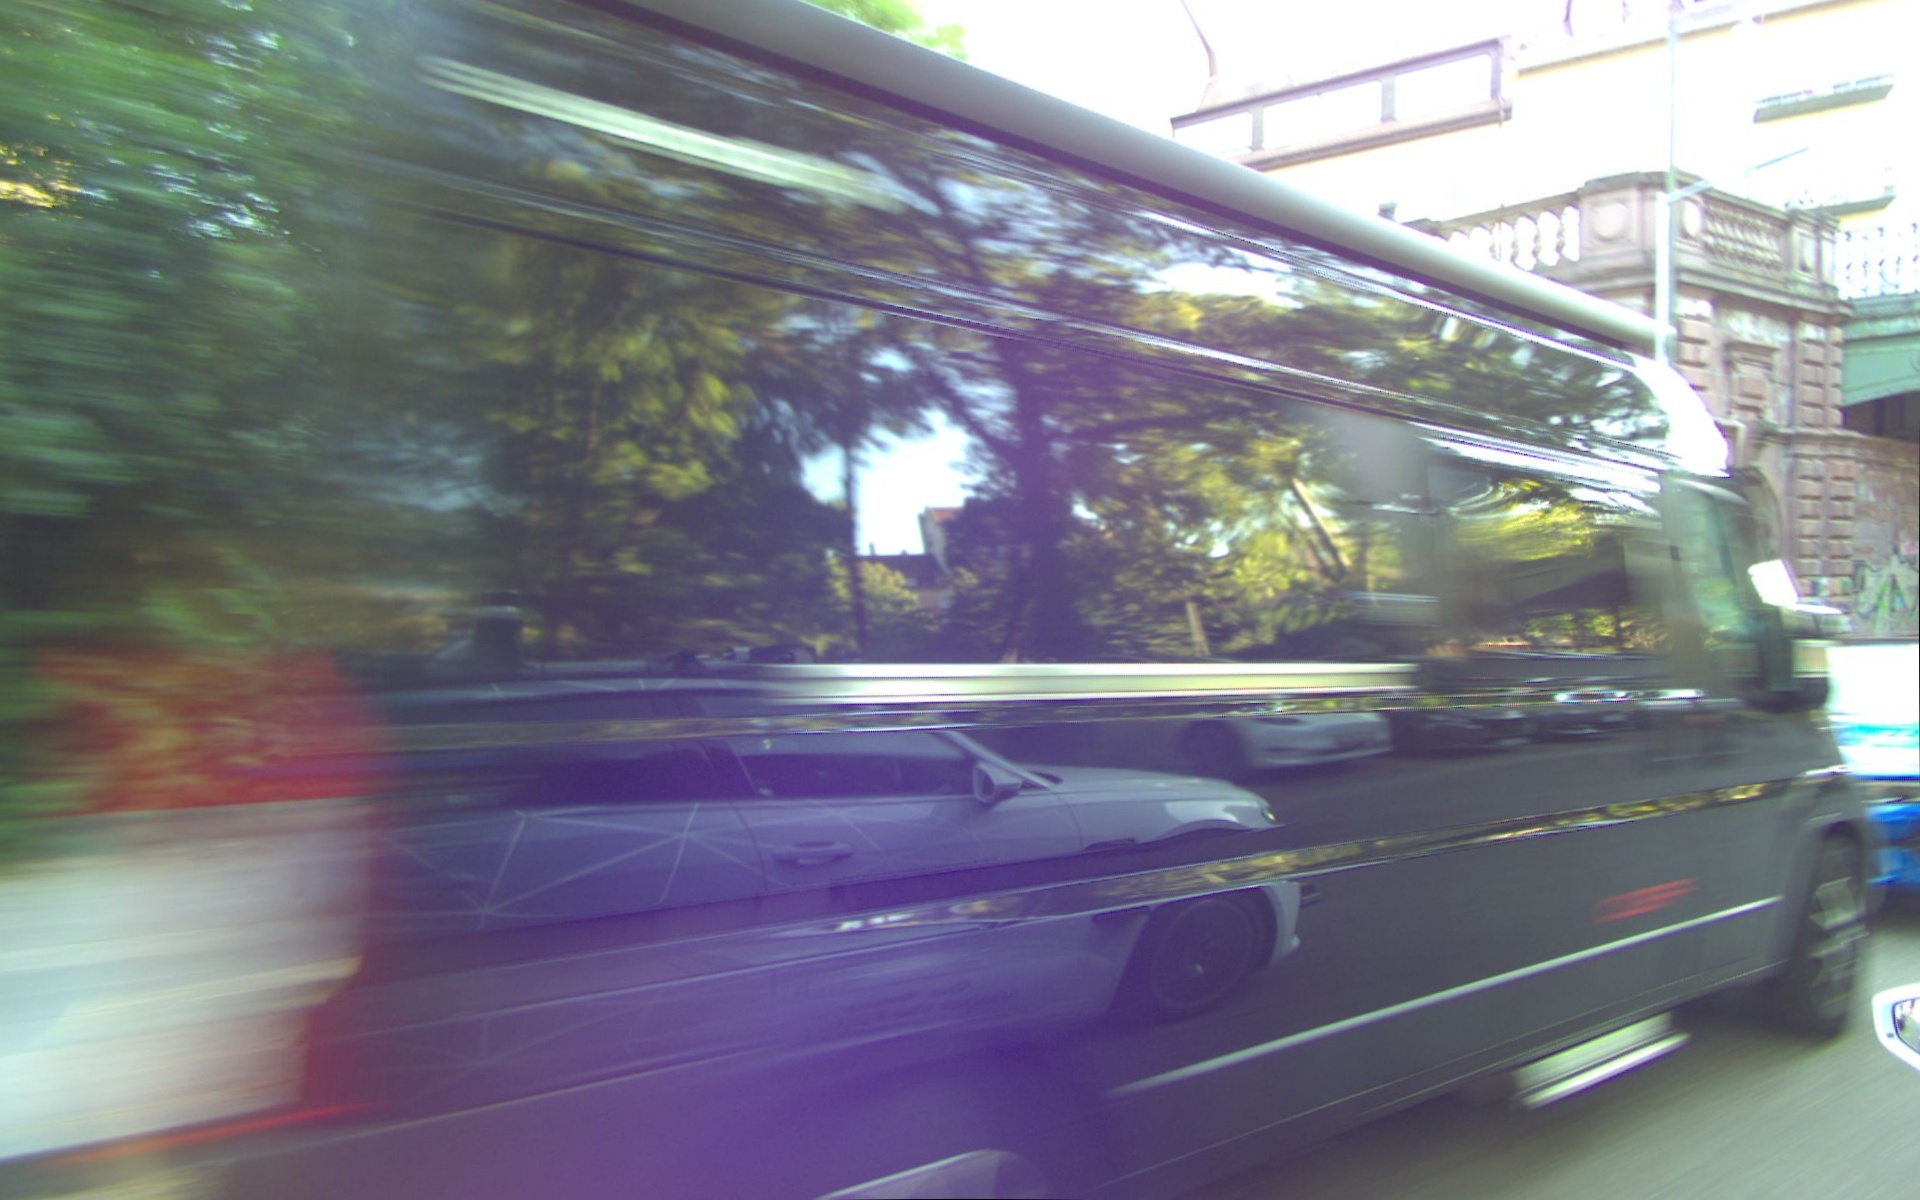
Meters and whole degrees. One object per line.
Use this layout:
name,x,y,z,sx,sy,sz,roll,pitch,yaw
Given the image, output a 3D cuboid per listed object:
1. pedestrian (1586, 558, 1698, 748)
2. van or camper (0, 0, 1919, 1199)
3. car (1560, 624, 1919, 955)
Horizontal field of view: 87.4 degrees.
pedestrian,7.357,0.544,10.834,1.036,1.940,0.633,1,1,-35
van or camper,1.028,0.216,3.395,6.349,2.556,2.224,1,1,-32
car,5.928,0.936,6.488,4.327,1.486,1.735,1,1,-32
